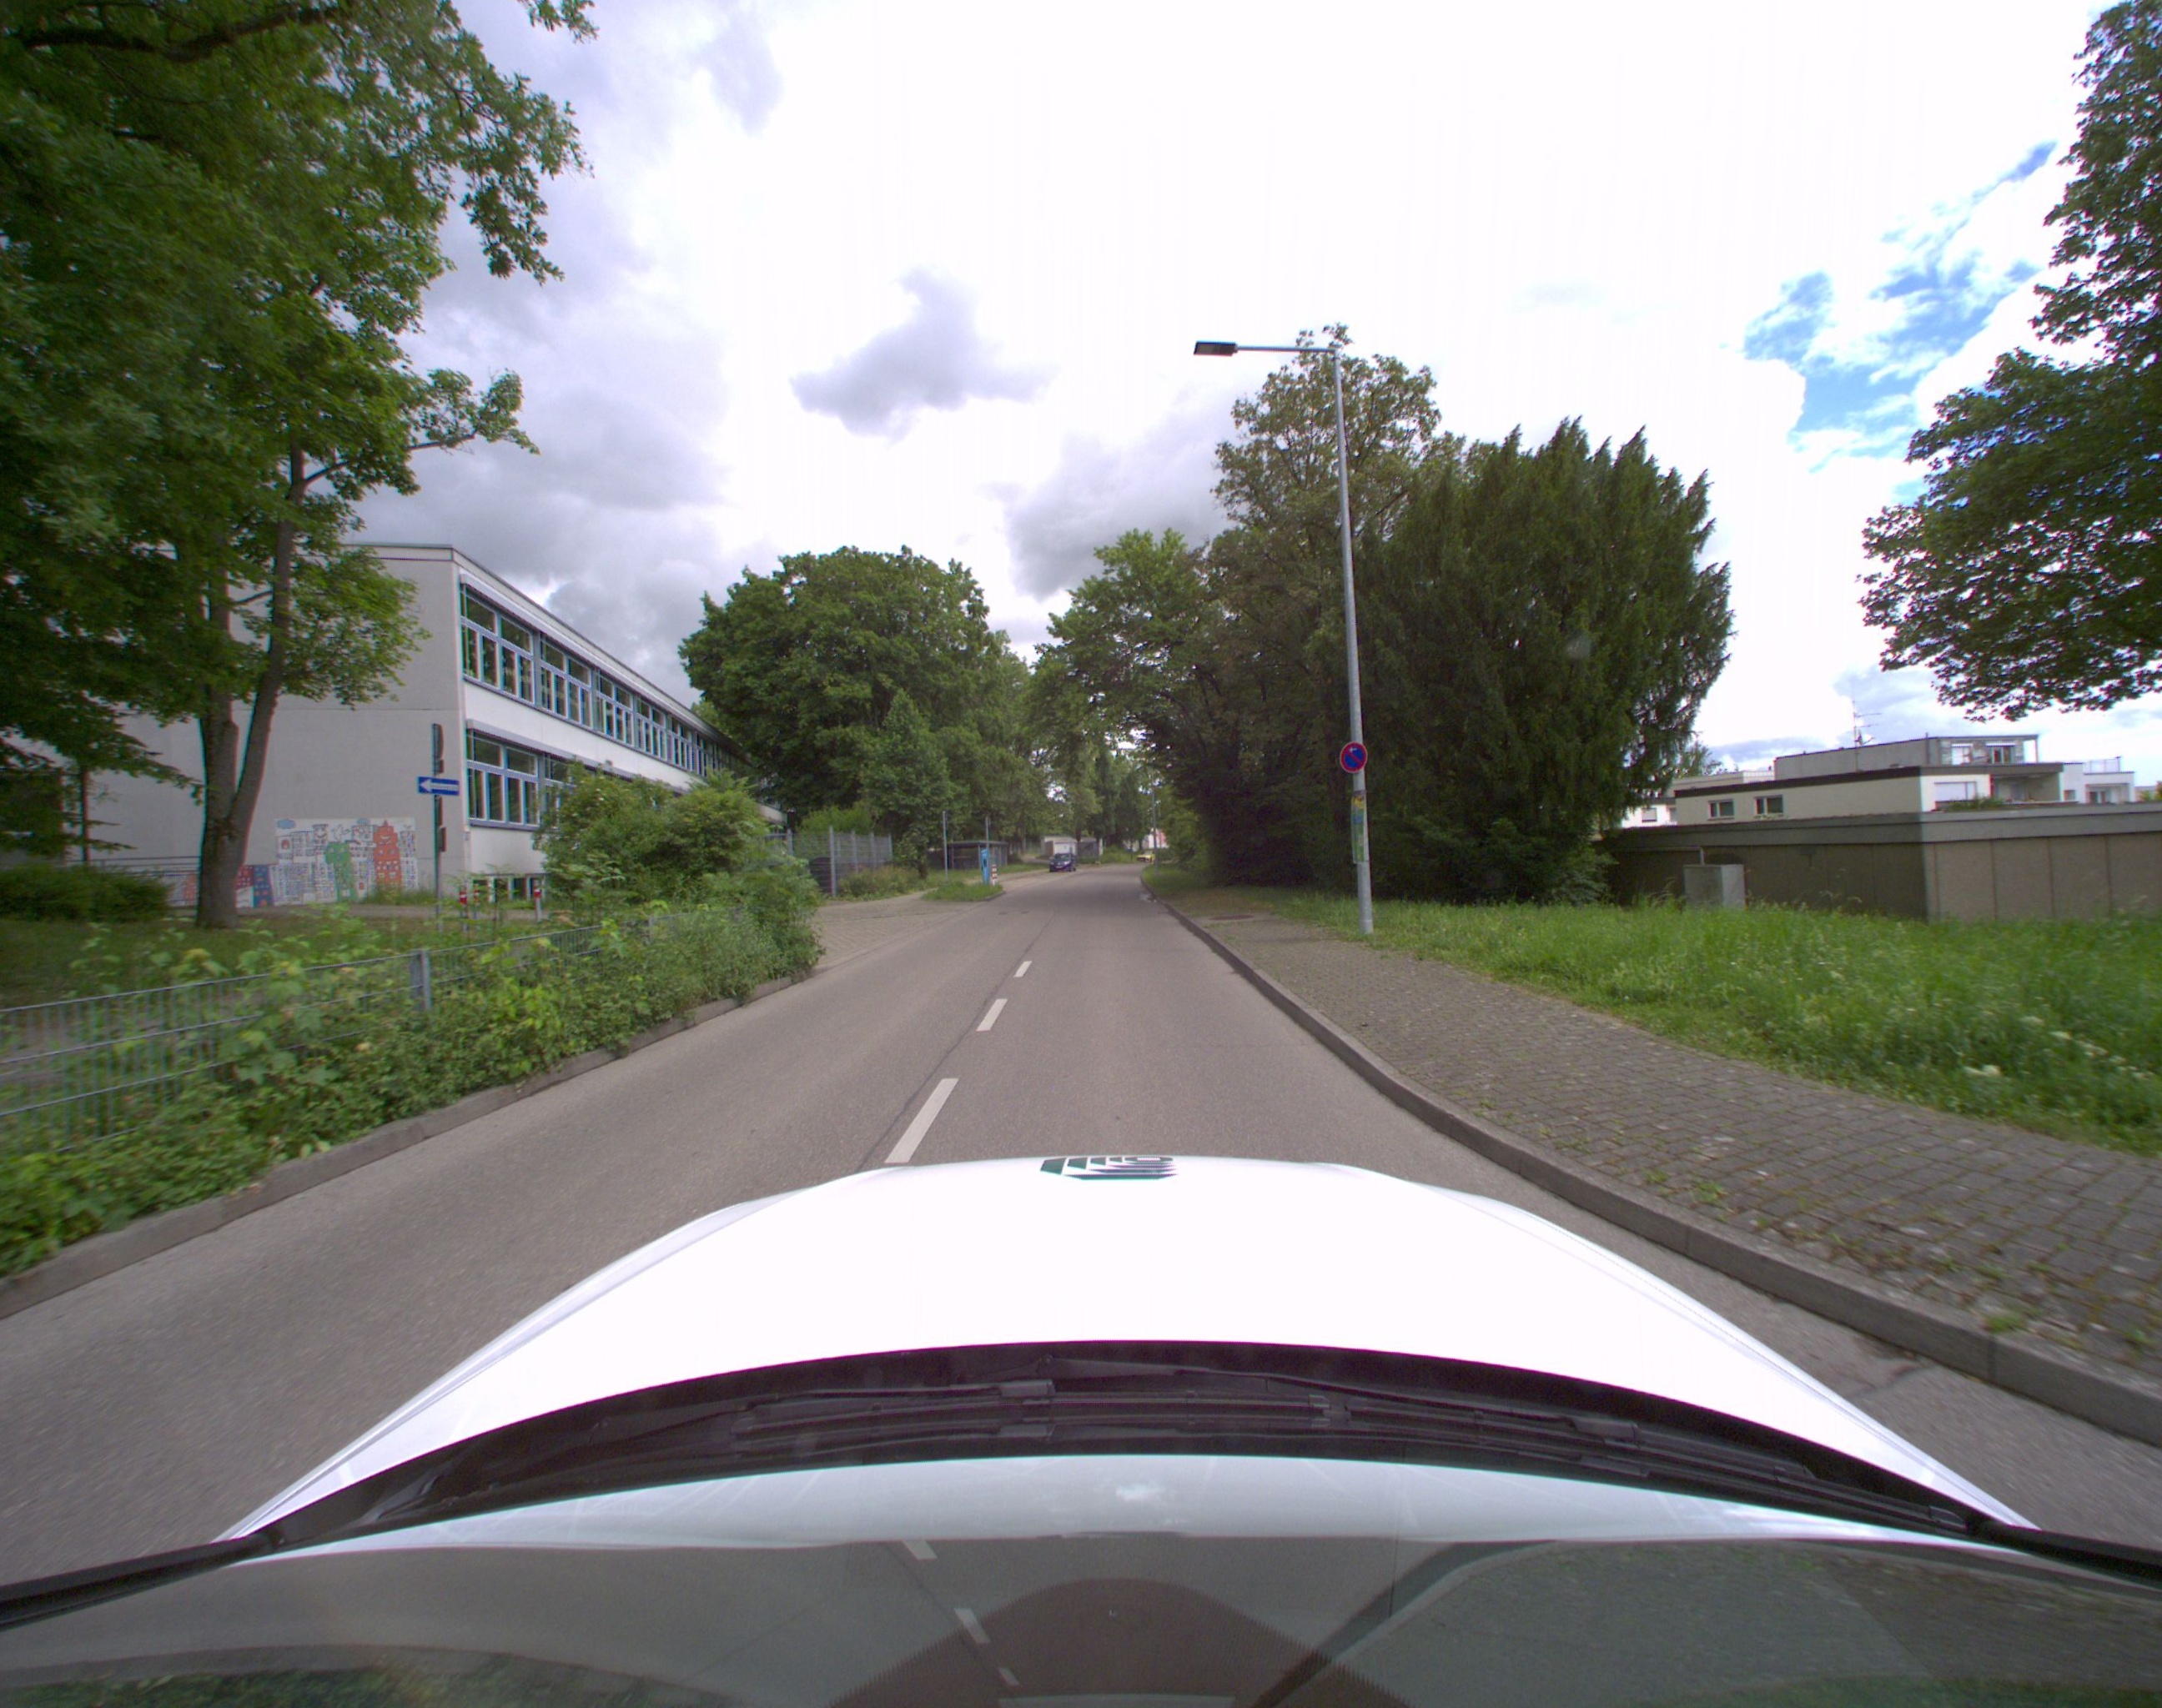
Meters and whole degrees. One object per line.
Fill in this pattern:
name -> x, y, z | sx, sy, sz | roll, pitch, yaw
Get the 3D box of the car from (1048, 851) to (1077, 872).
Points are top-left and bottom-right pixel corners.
car -> -1.433, 0.588, 64.581 | 1.671, 1.511, 4.440 | -2, 0, 7

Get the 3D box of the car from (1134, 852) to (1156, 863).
car -> 8.018, 0.427, 101.848 | 1.686, 1.403, 4.294 | -1, -1, 19
